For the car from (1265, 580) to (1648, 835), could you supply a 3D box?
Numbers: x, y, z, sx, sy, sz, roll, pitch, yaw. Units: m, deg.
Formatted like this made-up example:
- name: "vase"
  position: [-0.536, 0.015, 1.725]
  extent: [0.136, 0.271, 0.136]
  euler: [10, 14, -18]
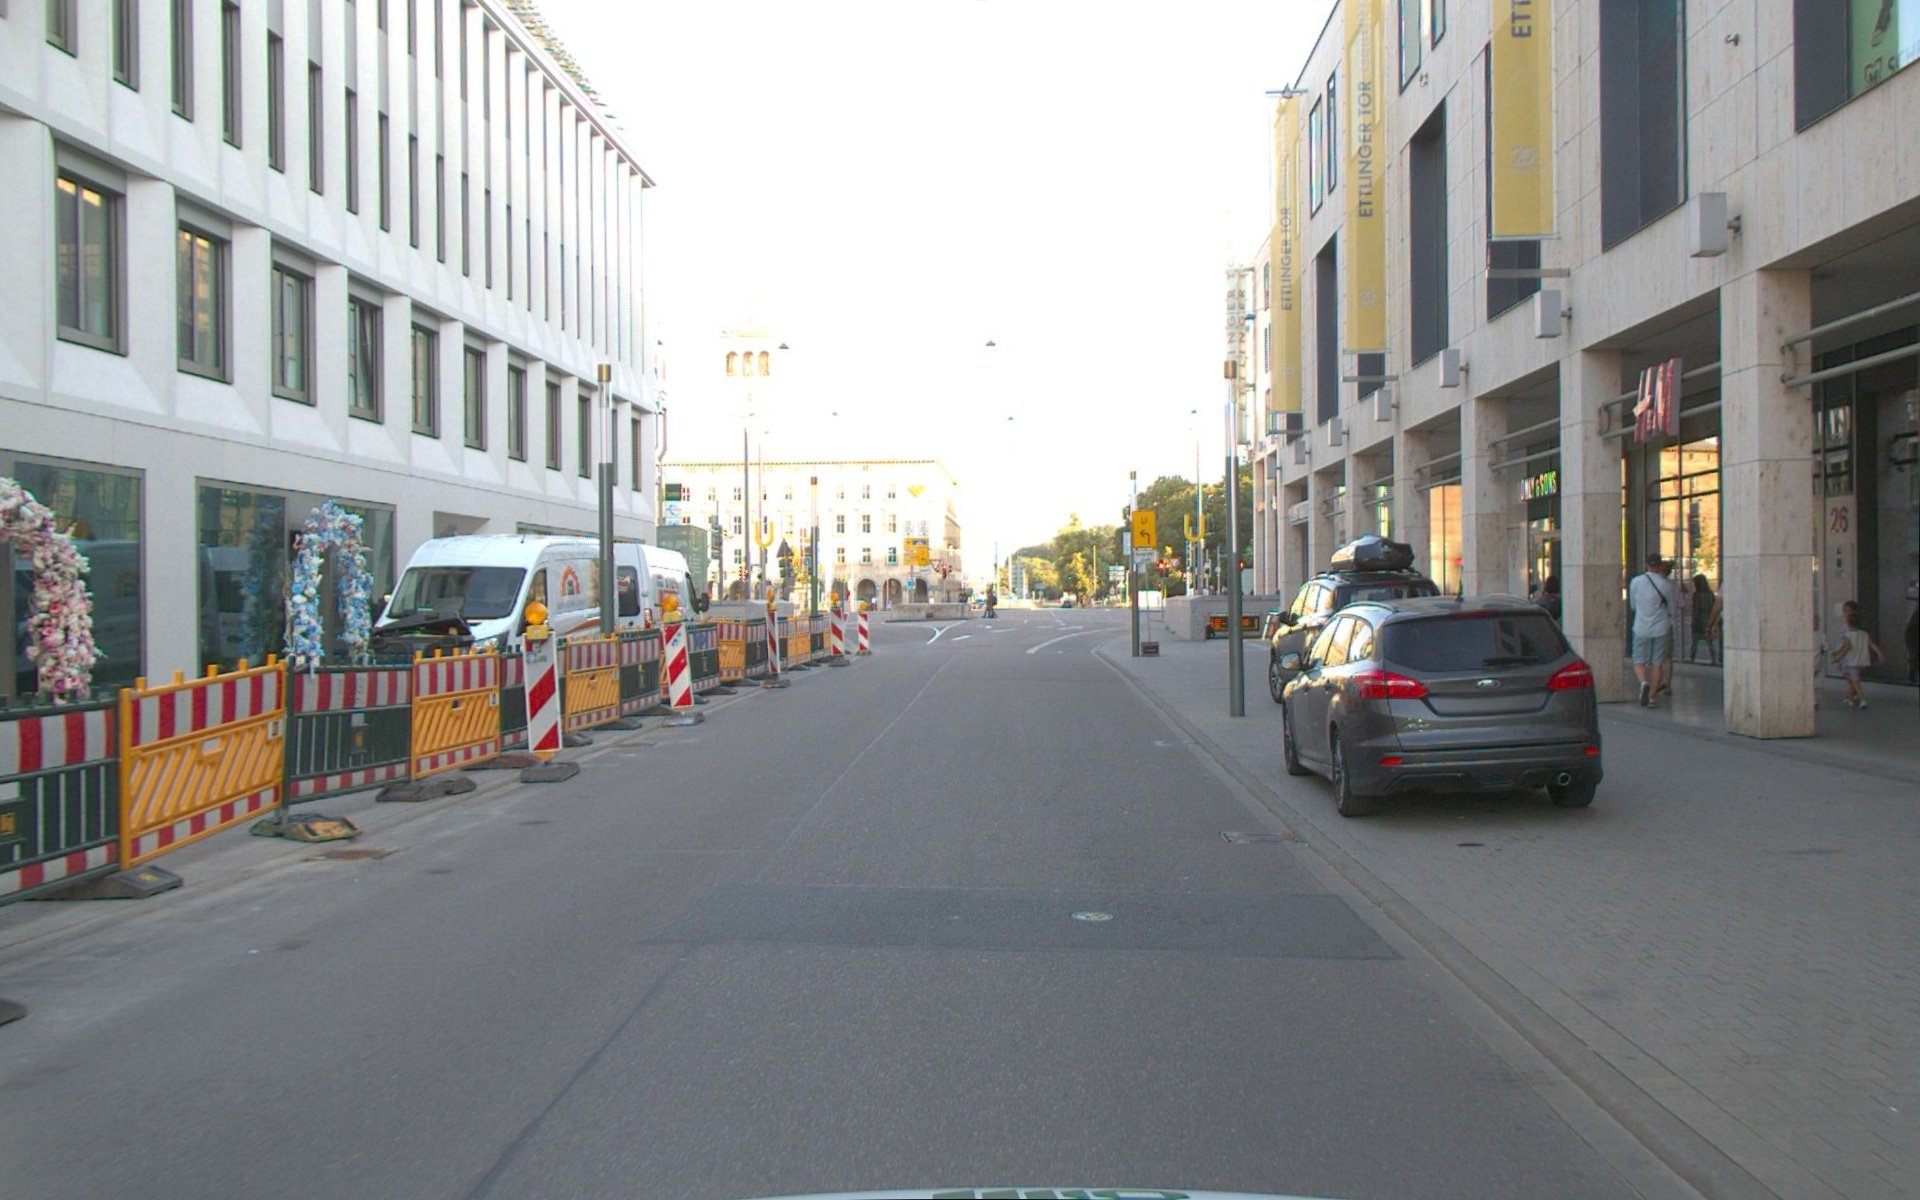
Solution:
- name: "car"
  position: [3.555, 0.685, 12.656]
  extent: [1.758, 1.516, 4.194]
  euler: [-4, 0, 3]

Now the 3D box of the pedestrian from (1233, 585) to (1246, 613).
- name: "pedestrian"
  position: [18.975, -0.064, 112.232]
  extent: [0.740, 1.808, 0.741]
  euler: [-3, 0, 4]

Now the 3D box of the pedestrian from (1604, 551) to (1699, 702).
- name: "pedestrian"
  position: [8.047, 0.292, 19.276]
  extent: [0.749, 1.710, 0.877]
  euler: [-1, 2, 2]

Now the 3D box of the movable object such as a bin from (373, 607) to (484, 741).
- name: "movable object such as a bin"
  position: [-6.181, 0.837, 19.323]
  extent: [1.024, 1.492, 1.391]
  euler: [0, 0, -9]

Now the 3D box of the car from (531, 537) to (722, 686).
- name: "car"
  position: [-6.063, 0.184, 30.900]
  extent: [2.128, 2.513, 6.001]
  euler: [0, 0, 2]

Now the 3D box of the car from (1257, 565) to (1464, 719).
- name: "car"
  position: [4.994, 0.489, 21.151]
  extent: [1.731, 1.666, 4.059]
  euler: [-4, 0, 3]

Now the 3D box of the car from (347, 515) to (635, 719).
- name: "car"
  position: [-6.392, 0.206, 23.450]
  extent: [2.128, 2.513, 6.001]
  euler: [0, 0, 3]

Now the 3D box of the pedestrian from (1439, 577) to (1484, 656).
- name: "pedestrian"
  position: [10.127, 0.326, 33.404]
  extent: [0.709, 1.569, 0.729]
  euler: [0, 0, 2]

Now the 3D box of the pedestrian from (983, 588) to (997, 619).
- name: "pedestrian"
  position: [1.798, 0.198, 99.276]
  extent: [0.723, 1.808, 0.863]
  euler: [-3, 0, -1]

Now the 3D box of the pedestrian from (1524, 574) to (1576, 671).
- name: "pedestrian"
  position: [9.997, 0.368, 28.033]
  extent: [0.620, 1.595, 0.775]
  euler: [-1, 2, 2]

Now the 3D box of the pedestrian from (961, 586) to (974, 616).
- name: "pedestrian"
  position: [0.448, 0.084, 102.896]
  extent: [0.723, 1.808, 0.863]
  euler: [-3, 0, 0]

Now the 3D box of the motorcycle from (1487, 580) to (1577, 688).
- name: "motorcycle"
  position: [8.033, 0.451, 23.320]
  extent: [0.678, 1.441, 2.137]
  euler: [-1, 0, 4]

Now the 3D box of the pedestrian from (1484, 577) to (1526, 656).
- name: "pedestrian"
  position: [10.972, 0.322, 33.317]
  extent: [0.620, 1.569, 0.775]
  euler: [0, 0, 2]

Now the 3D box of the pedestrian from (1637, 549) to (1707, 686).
- name: "pedestrian"
  position: [9.167, 0.220, 21.307]
  extent: [0.578, 1.728, 0.696]
  euler: [-1, 0, 0]

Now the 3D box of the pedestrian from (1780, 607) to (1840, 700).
- name: "pedestrian"
  position: [9.476, 0.592, 18.458]
  extent: [0.411, 1.003, 0.526]
  euler: [-1, 2, 2]

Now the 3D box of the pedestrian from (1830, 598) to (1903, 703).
- name: "pedestrian"
  position: [9.987, 0.550, 18.233]
  extent: [0.477, 1.116, 0.602]
  euler: [-1, 2, 2]

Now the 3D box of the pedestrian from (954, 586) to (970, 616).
- name: "pedestrian"
  position: [0.129, 0.042, 101.968]
  extent: [0.722, 1.808, 0.864]
  euler: [-3, 0, 9]

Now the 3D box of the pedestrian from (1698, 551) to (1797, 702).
- name: "pedestrian"
  position: [9.156, 0.287, 19.264]
  extent: [0.749, 1.710, 0.877]
  euler: [-1, 2, 2]

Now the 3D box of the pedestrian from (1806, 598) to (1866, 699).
- name: "pedestrian"
  position: [9.988, 0.549, 18.870]
  extent: [0.411, 1.116, 0.526]
  euler: [-1, 2, 2]

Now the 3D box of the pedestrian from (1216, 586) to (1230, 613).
- name: "pedestrian"
  position: [17.917, -0.025, 112.707]
  extent: [0.842, 1.808, 0.741]
  euler: [-3, 0, 4]
